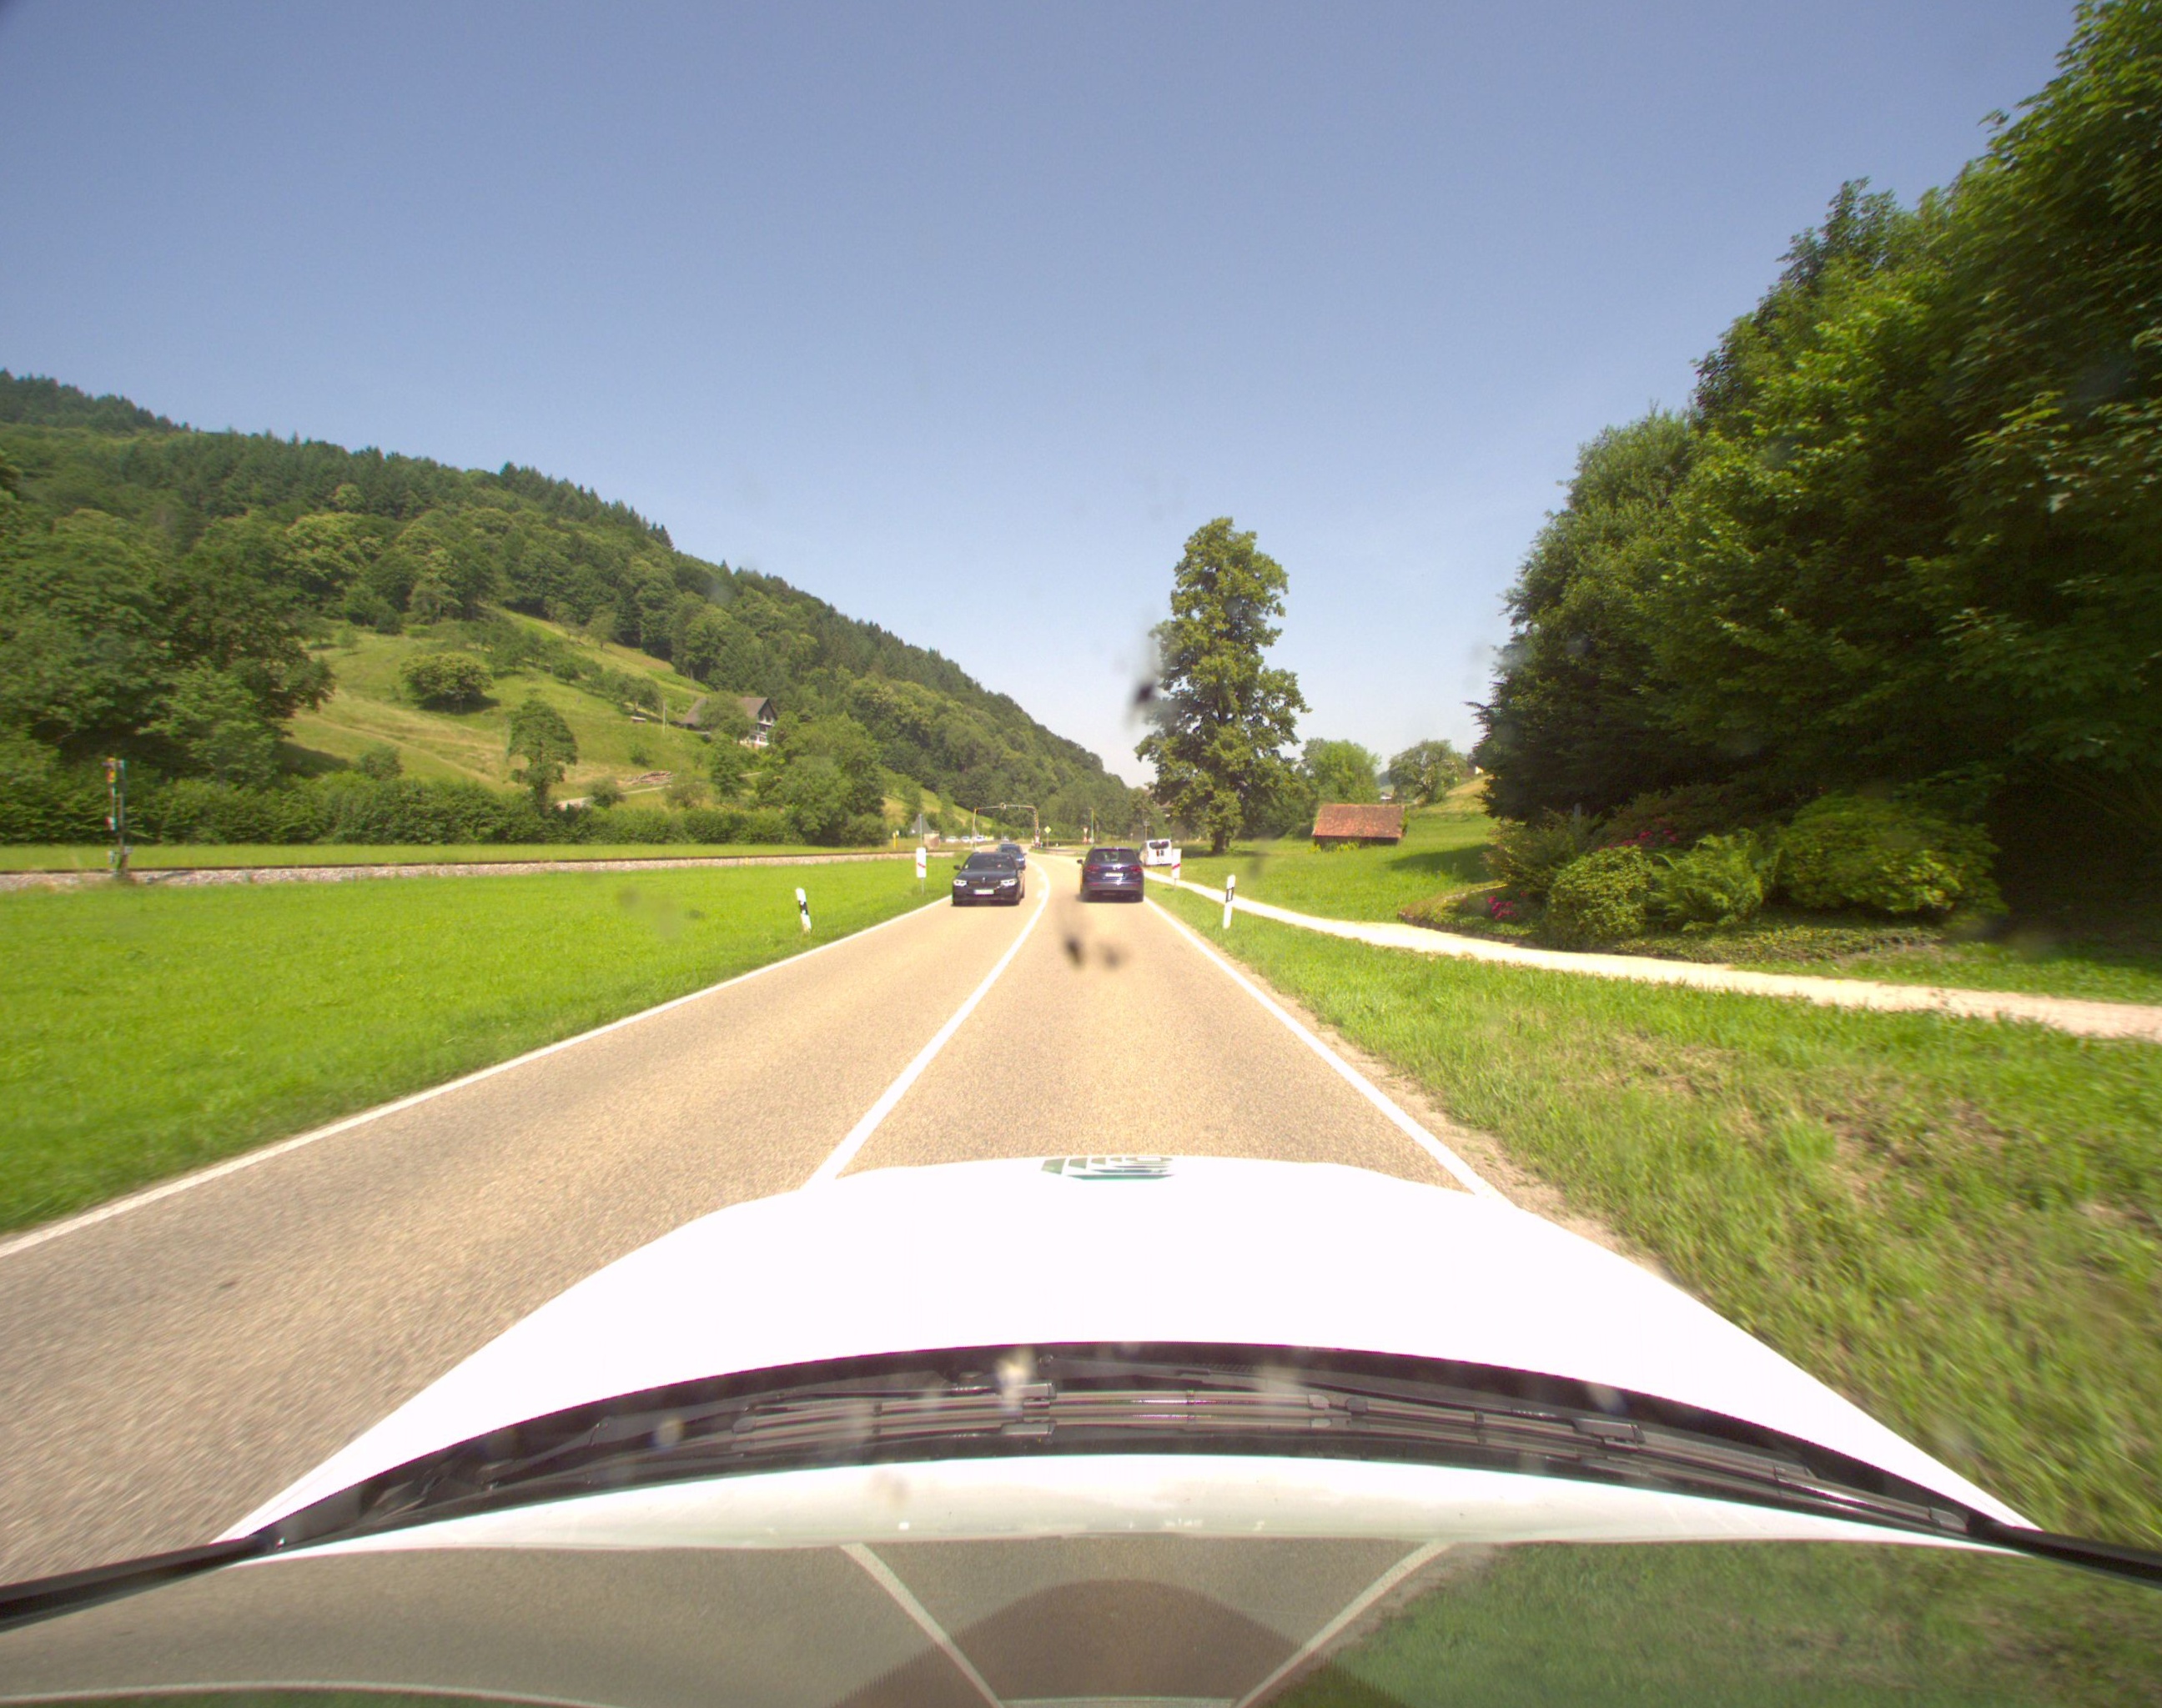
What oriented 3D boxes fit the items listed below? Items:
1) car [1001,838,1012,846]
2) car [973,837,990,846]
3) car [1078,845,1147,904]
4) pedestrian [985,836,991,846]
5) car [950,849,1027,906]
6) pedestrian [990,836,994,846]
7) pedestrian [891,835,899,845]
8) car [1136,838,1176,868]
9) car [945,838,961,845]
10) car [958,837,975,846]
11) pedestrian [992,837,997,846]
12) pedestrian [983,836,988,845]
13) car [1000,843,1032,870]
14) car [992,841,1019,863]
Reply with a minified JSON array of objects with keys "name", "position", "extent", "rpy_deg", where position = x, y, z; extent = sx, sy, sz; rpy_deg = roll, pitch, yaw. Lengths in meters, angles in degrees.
[{"name":"car","position":[-14.650,-2.365,159.977],"extent":[1.822,1.500,4.273],"rpy_deg":[0,1,-3]},{"name":"car","position":[-19.791,-2.520,161.860],"extent":[1.859,1.782,4.786],"rpy_deg":[1,1,10]},{"name":"car","position":[0.883,0.566,25.094],"extent":[1.848,1.649,4.137],"rpy_deg":[0,1,-2]},{"name":"pedestrian","position":[-17.736,-2.434,154.916],"extent":[0.761,1.796,0.799],"rpy_deg":[0,1,33]},{"name":"car","position":[-2.621,0.606,24.003],"extent":[1.911,1.470,4.507],"rpy_deg":[0,1,-2]},{"name":"pedestrian","position":[-16.868,-2.447,154.422],"extent":[0.659,1.954,0.532],"rpy_deg":[0,1,-3]},{"name":"pedestrian","position":[-35.892,-2.696,157.105],"extent":[1.116,1.969,0.866],"rpy_deg":[0,1,22]},{"name":"car","position":[5.329,-0.111,58.444],"extent":[1.995,1.848,4.863],"rpy_deg":[-5,1,-3]},{"name":"car","position":[-25.368,-2.459,161.345],"extent":[1.984,1.500,4.528],"rpy_deg":[0,1,5]},{"name":"car","position":[-22.671,-2.472,161.529],"extent":[1.983,1.641,4.912],"rpy_deg":[0,1,7]},{"name":"pedestrian","position":[-16.502,-2.382,154.974],"extent":[0.641,1.858,0.776],"rpy_deg":[0,1,40]},{"name":"pedestrian","position":[-18.033,-2.533,153.531],"extent":[0.781,1.842,0.702],"rpy_deg":[0,1,17]},{"name":"car","position":[-4.219,0.124,53.401],"extent":[1.861,1.623,4.506],"rpy_deg":[1,1,-3]},{"name":"car","position":[-6.271,-0.170,67.136],"extent":[1.915,1.714,4.147],"rpy_deg":[0,1,-9]}]
